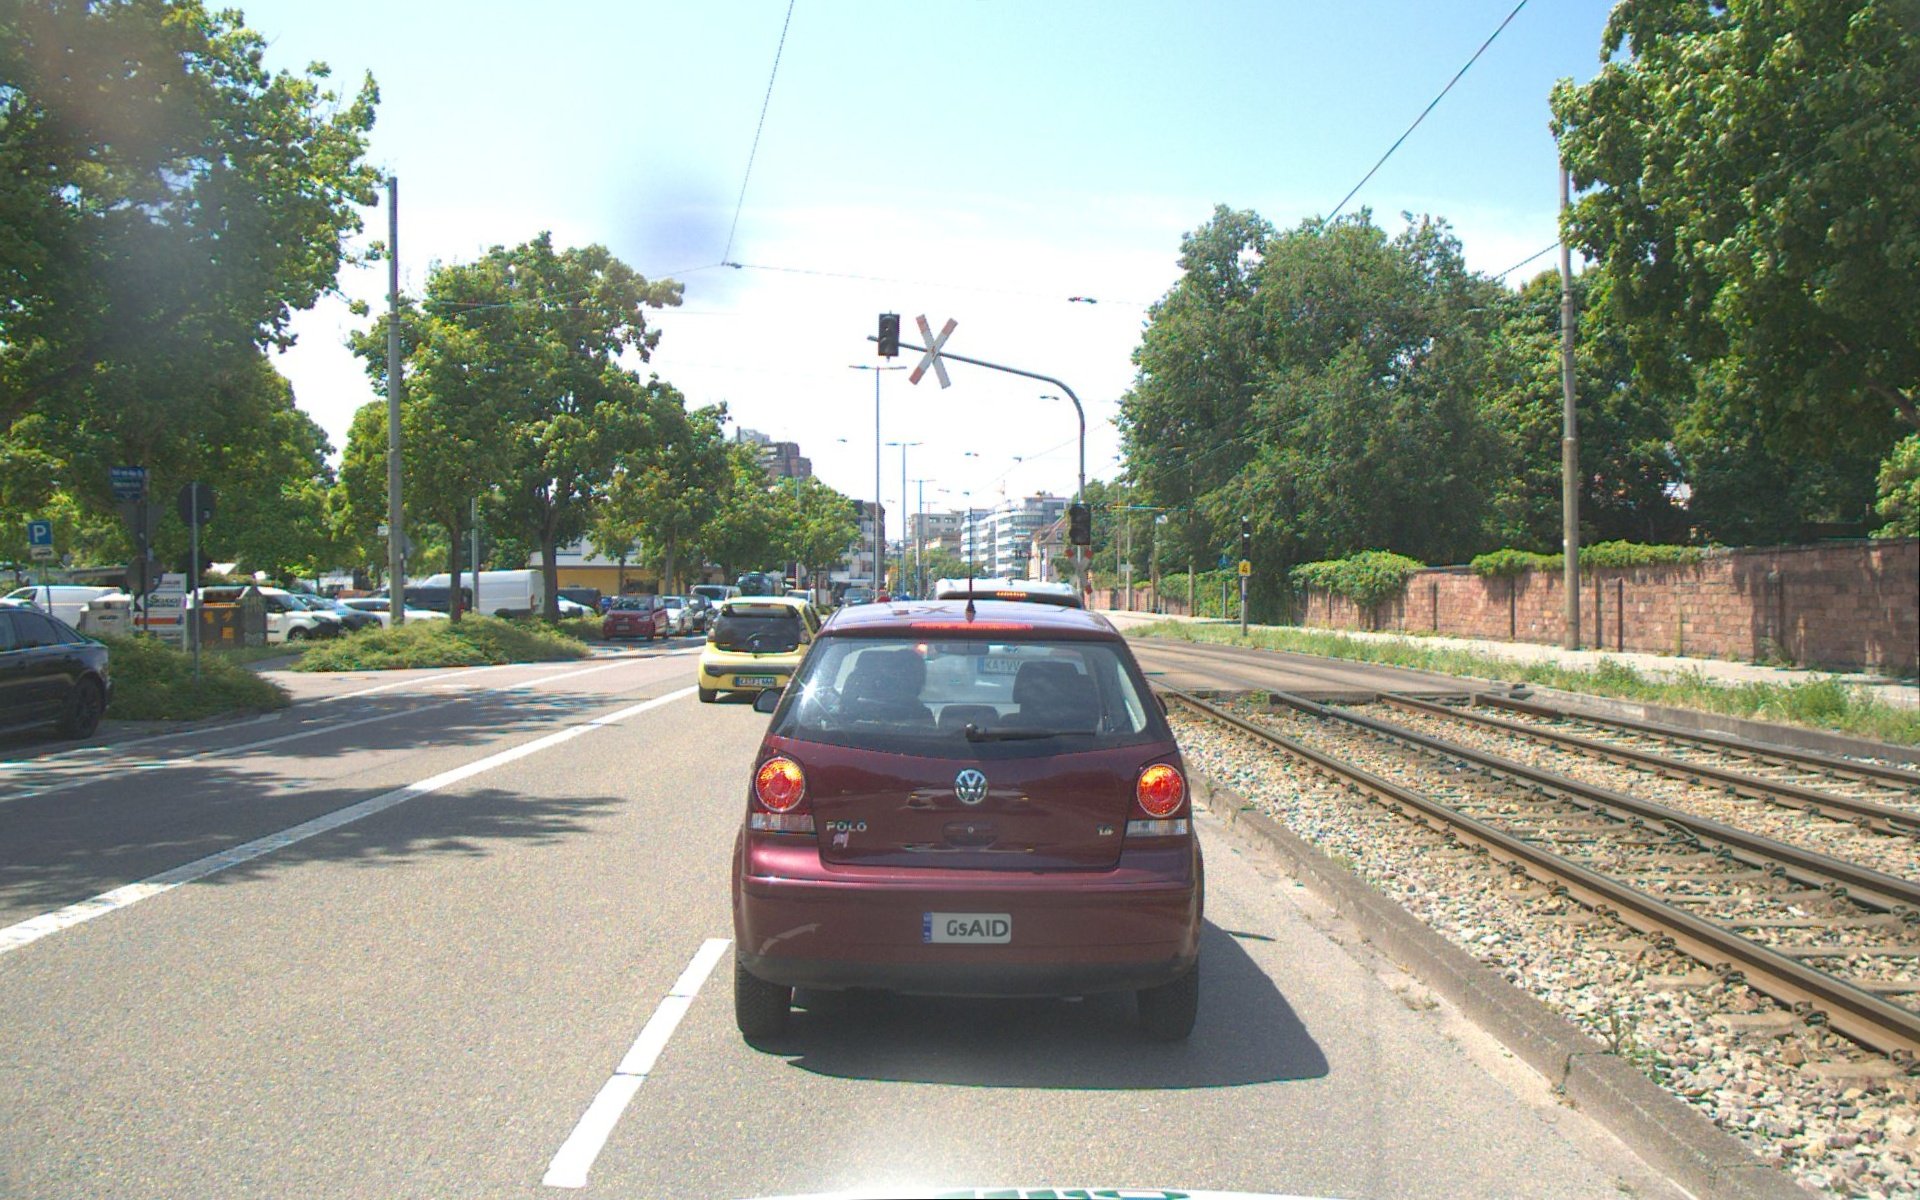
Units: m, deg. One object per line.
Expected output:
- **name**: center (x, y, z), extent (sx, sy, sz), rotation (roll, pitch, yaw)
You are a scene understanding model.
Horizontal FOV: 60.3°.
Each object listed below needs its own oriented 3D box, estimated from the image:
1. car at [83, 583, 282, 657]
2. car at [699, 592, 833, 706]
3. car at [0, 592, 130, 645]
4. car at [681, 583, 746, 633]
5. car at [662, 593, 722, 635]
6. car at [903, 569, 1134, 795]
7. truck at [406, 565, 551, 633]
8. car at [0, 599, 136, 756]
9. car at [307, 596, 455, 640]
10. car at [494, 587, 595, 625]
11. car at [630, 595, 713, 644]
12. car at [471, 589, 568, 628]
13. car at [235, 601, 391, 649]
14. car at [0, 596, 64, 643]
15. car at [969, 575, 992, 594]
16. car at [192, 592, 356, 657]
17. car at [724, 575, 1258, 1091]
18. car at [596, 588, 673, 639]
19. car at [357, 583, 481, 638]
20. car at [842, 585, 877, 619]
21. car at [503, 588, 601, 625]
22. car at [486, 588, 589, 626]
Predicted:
- **car**: center (-20.829, 0.511, 44.456), extent (4.361, 1.889, 2.059), rotation (-1, 0, -6)
- **car**: center (-2.688, 0.637, 23.477), extent (1.520, 1.473, 3.411), rotation (1, 0, -1)
- **car**: center (-32.812, 0.662, 60.335), extent (4.044, 1.852, 1.970), rotation (0, 0, -1)
- **car**: center (-10.541, 0.337, 71.114), extent (1.824, 1.971, 4.806), rotation (3, 0, 2)
- **car**: center (-10.615, 0.531, 65.790), extent (1.581, 1.510, 3.785), rotation (3, 0, 2)
- **car**: center (0.427, 0.623, 14.759), extent (1.759, 1.712, 3.999), rotation (1, 0, -1)
- **truck**: center (-20.571, -0.036, 70.868), extent (5.463, 2.808, 2.432), rotation (-1, 0, 0)
- **car**: center (-10.232, 0.755, 16.437), extent (1.856, 1.482, 4.807), rotation (1, 0, -3)
- **car**: center (-21.026, 0.640, 60.245), extent (4.665, 1.514, 2.057), rotation (-1, 0, -2)
- **car**: center (-20.989, 0.275, 83.646), extent (4.623, 1.845, 1.796), rotation (-1, 0, -2)
- **car**: center (-10.551, 0.686, 60.828), extent (1.683, 1.451, 4.774), rotation (-6, 1, 5)
- **car**: center (-21.063, 0.383, 79.168), extent (4.125, 1.796, 1.856), rotation (-1, 0, -2)
- **car**: center (-20.367, 0.773, 52.187), extent (4.113, 1.428, 2.079), rotation (-1, 0, -5)
- **car**: center (-33.704, 0.661, 57.942), extent (3.670, 1.603, 1.732), rotation (0, 0, -1)
- **car**: center (2.053, -1.551, 168.553), extent (1.881, 1.944, 4.566), rotation (-1, 0, -5)
- **car**: center (-20.372, 0.704, 49.206), extent (4.178, 1.867, 1.673), rotation (-1, 0, 1)
- **car**: center (0.068, 0.690, 6.951), extent (1.577, 1.524, 3.999), rotation (1, 0, -1)
- **car**: center (-10.590, 0.438, 54.015), extent (1.637, 1.573, 3.727), rotation (1, 0, 2)
- **car**: center (-20.540, 0.377, 62.910), extent (4.125, 2.030, 1.856), rotation (-1, 0, -2)
- **car**: center (-6.016, 0.083, 99.626), extent (1.879, 1.944, 4.570), rotation (-1, 0, -1)
- **car**: center (-21.182, 0.328, 85.931), extent (4.623, 1.845, 1.796), rotation (-1, 0, -2)
- **car**: center (-20.776, 0.332, 81.423), extent (4.623, 1.845, 1.796), rotation (-1, 0, -2)
